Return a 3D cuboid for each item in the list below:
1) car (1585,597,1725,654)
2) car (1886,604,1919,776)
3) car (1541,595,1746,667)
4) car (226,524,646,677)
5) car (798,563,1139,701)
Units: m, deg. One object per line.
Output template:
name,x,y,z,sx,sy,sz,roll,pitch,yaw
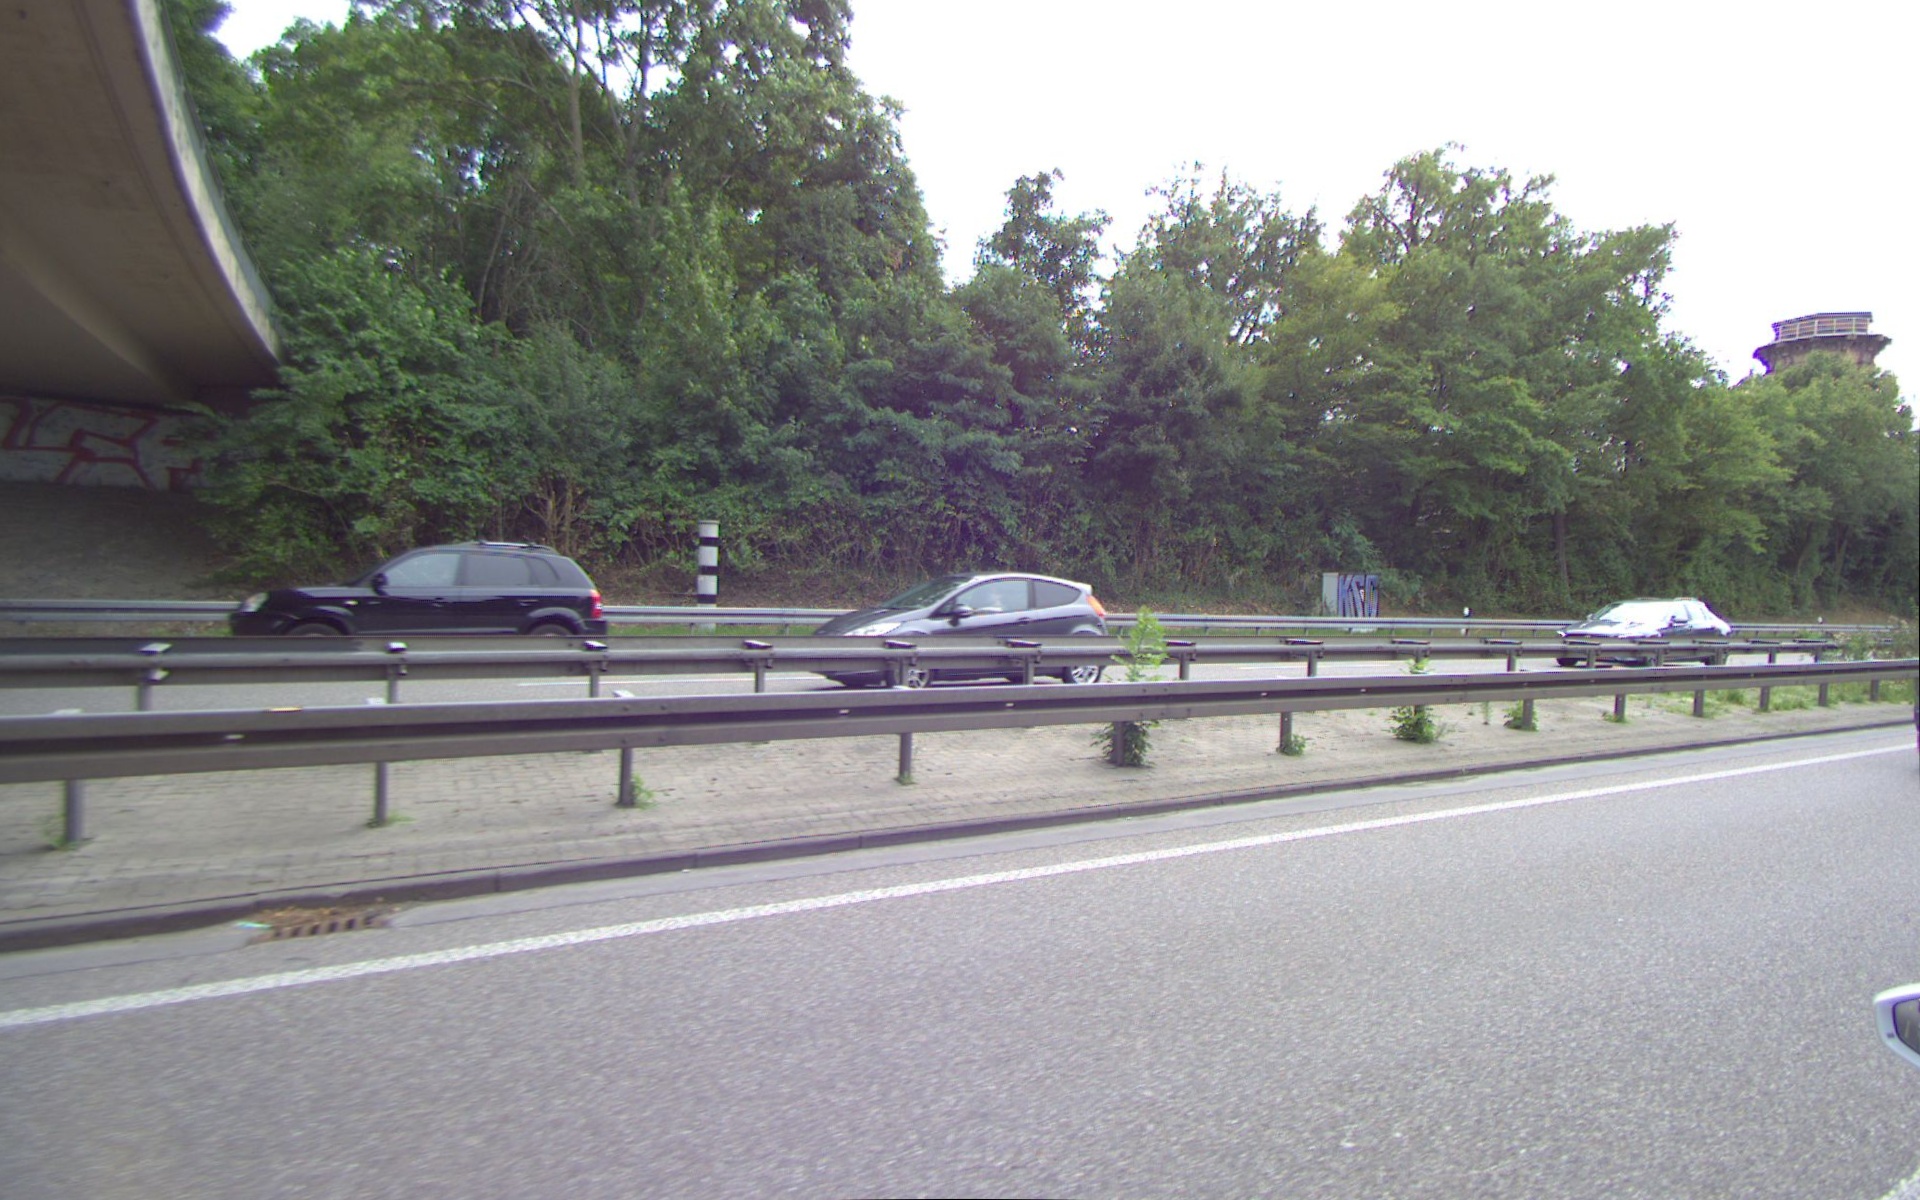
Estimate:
car,22.042,0.816,31.804,4.585,1.674,1.884,2,0,-30
car,11.231,0.916,10.012,4.119,1.631,1.817,2,0,-30
car,14.635,0.659,21.435,4.878,1.399,1.681,2,0,-30
car,-6.698,0.055,13.241,4.585,1.709,1.884,2,0,-30
car,0.149,0.382,12.510,3.943,1.483,1.681,2,0,-30
